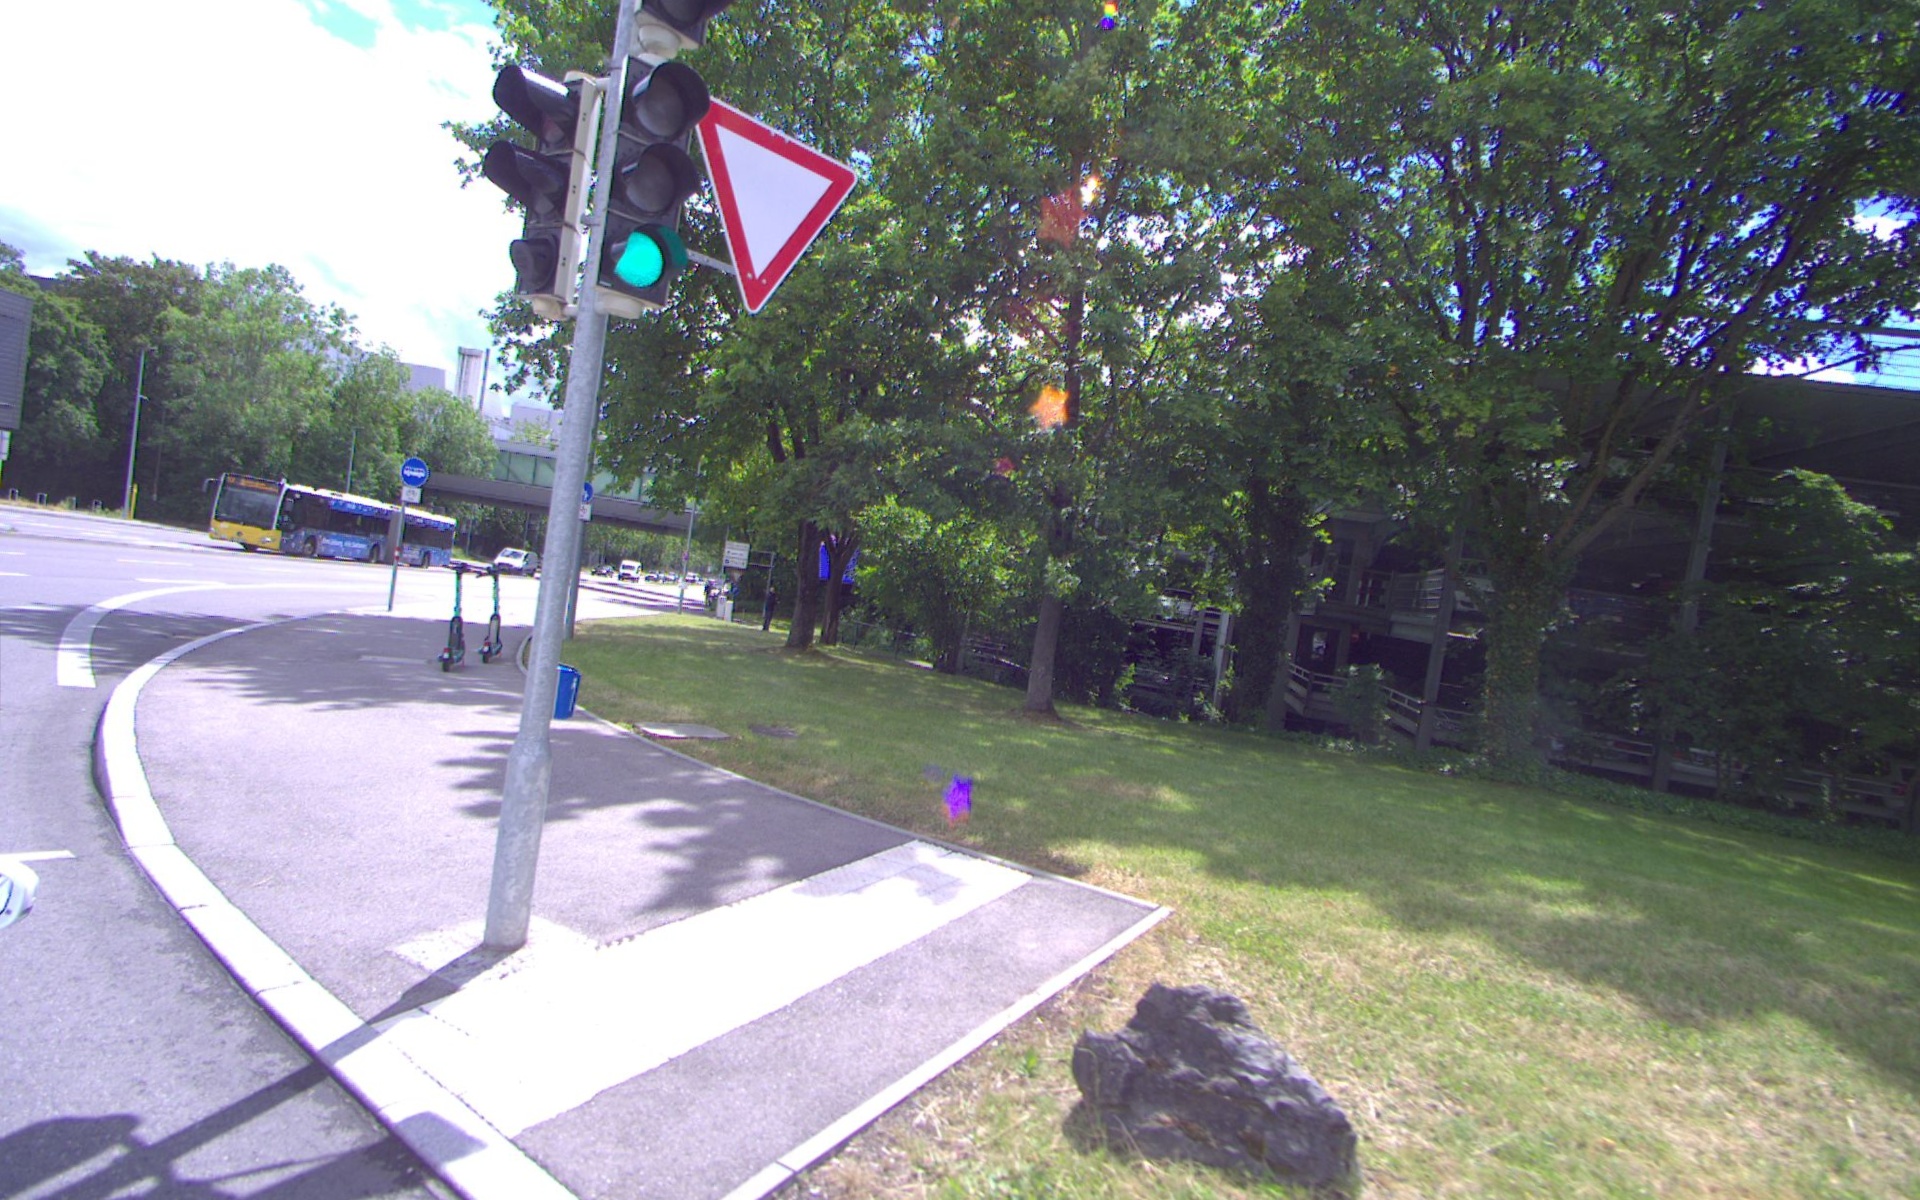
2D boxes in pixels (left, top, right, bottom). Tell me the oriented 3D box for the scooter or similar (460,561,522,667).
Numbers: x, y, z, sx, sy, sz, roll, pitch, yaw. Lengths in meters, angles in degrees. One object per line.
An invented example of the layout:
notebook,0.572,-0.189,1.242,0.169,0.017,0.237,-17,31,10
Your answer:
scooter or similar,-6.263,0.169,13.402,0.528,1.279,1.181,7,0,-30

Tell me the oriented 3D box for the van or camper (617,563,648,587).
van or camper,-39.731,-3.030,122.053,1.980,2.429,6.393,9,-1,-6

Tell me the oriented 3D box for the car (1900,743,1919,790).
car,31.568,5.558,31.270,1.564,1.389,3.781,10,3,13

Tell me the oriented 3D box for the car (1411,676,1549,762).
car,11.905,2.679,23.326,1.743,1.308,3.799,10,1,13

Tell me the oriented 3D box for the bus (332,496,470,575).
bus,-29.584,-3.293,53.830,2.777,3.200,8.899,9,-1,-6

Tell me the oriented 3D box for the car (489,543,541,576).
car,-32.280,-2.896,73.170,1.851,1.947,4.745,9,-1,-6

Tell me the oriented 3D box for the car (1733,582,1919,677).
car,18.698,0.622,21.627,1.695,1.560,3.704,12,2,13

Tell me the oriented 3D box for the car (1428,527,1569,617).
car,12.201,-0.561,23.050,1.695,1.560,3.704,12,2,13

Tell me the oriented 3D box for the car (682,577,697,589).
car,-45.750,-2.820,169.910,1.678,1.718,3.920,9,-1,-7

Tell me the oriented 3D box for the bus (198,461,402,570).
bus,-28.582,-3.444,44.356,2.777,3.322,10.114,9,-2,-6

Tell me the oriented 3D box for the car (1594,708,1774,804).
car,16.036,3.405,22.545,1.743,1.308,3.799,10,1,13

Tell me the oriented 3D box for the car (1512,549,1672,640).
car,14.077,-0.081,22.672,1.695,1.560,3.704,12,2,13

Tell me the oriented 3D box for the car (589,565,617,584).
car,-44.131,-3.128,124.329,1.964,1.770,4.000,9,-2,-3

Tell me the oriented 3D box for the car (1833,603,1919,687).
car,20.977,1.017,21.524,1.695,1.560,3.704,12,2,13

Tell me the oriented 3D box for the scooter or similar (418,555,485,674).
scooter or similar,-6.036,0.147,11.905,0.528,1.279,1.181,7,0,-30

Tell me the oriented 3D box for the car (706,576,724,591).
car,-37.993,-2.552,156.264,1.903,1.795,3.990,9,3,-6

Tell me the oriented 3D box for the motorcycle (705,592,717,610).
motorcycle,-16.812,0.095,67.914,0.540,1.123,2.015,8,-1,-10

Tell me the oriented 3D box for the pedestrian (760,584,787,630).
pedestrian,-7.624,0.284,41.136,0.585,1.741,0.766,6,5,-34

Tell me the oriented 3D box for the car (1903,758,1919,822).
car,22.407,4.466,21.262,1.743,1.409,3.799,10,1,13

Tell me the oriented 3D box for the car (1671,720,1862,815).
car,18.264,3.739,23.027,1.743,1.308,3.799,10,1,13

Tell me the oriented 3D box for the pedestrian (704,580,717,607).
pedestrian,-18.339,-0.483,73.878,0.614,1.879,0.871,8,-1,-9

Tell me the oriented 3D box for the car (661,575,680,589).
car,-44.333,-2.789,154.238,1.966,1.681,3.997,9,-1,-6

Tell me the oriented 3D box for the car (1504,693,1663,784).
car,14.027,3.063,22.911,1.743,1.308,3.799,10,1,13

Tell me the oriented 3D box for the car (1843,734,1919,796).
car,29.657,5.234,31.228,1.564,1.389,3.781,10,3,13

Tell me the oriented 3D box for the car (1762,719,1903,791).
car,27.394,4.820,31.760,1.564,1.389,3.781,10,3,13

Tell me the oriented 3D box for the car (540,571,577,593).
car,-33.682,-1.495,84.398,1.614,1.488,3.774,9,-1,-4

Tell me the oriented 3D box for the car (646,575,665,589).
car,-41.917,-2.473,138.539,1.678,1.539,3.071,10,-1,-7

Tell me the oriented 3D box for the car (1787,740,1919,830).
car,20.138,4.062,21.790,1.743,1.308,3.799,10,1,13
